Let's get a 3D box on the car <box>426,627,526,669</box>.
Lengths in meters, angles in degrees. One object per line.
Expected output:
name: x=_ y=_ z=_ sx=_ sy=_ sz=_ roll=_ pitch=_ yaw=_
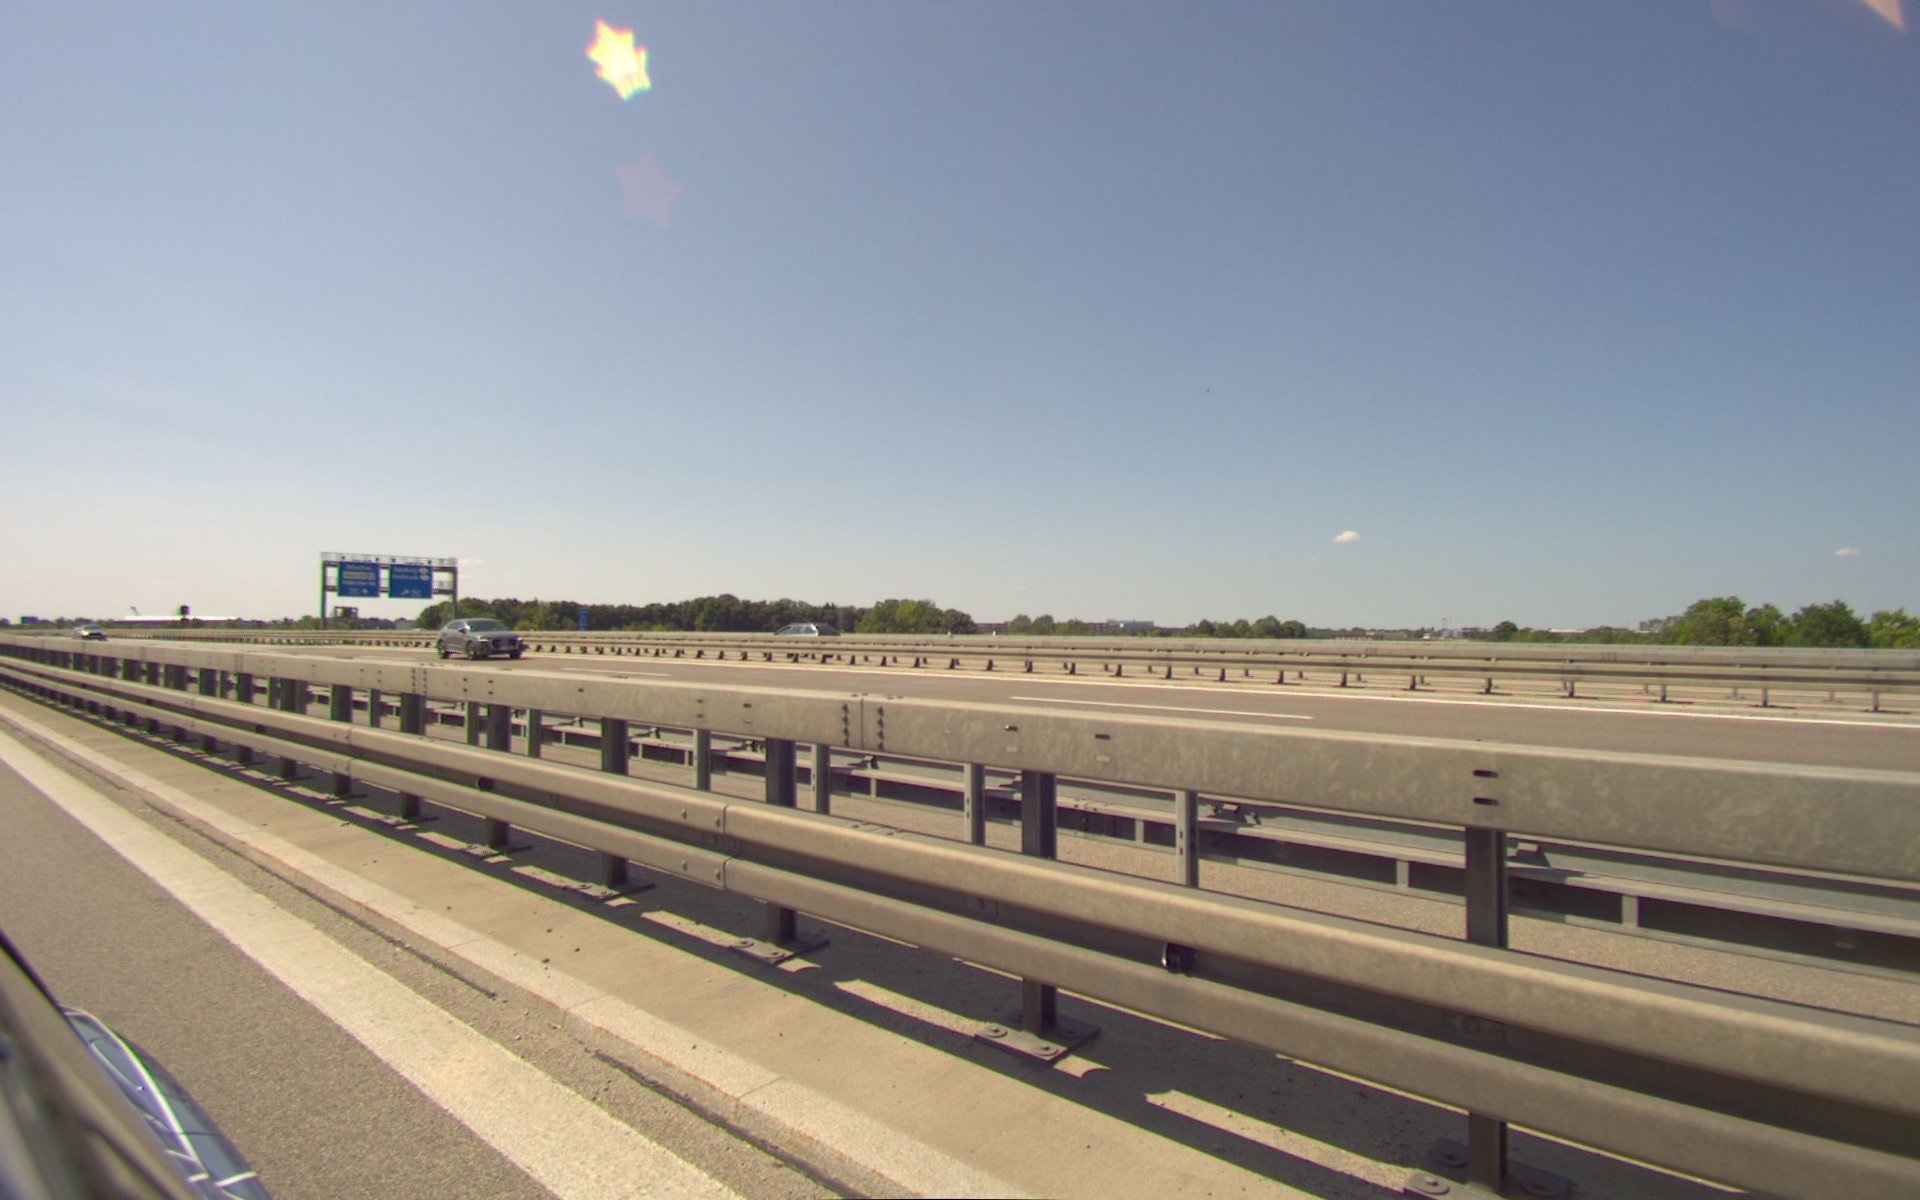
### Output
car: x=-18.671 y=1.793 z=38.958 sx=4.574 sy=1.529 sz=1.818 roll=-1 pitch=-2 yaw=41

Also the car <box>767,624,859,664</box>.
car: x=-6.441 y=1.887 z=44.176 sx=3.997 sy=1.608 sz=1.761 roll=-1 pitch=-1 yaw=40

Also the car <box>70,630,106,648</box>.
car: x=-77.938 y=3.453 z=90.420 sx=4.574 sy=1.529 sz=1.818 roll=-1 pitch=-2 yaw=41
